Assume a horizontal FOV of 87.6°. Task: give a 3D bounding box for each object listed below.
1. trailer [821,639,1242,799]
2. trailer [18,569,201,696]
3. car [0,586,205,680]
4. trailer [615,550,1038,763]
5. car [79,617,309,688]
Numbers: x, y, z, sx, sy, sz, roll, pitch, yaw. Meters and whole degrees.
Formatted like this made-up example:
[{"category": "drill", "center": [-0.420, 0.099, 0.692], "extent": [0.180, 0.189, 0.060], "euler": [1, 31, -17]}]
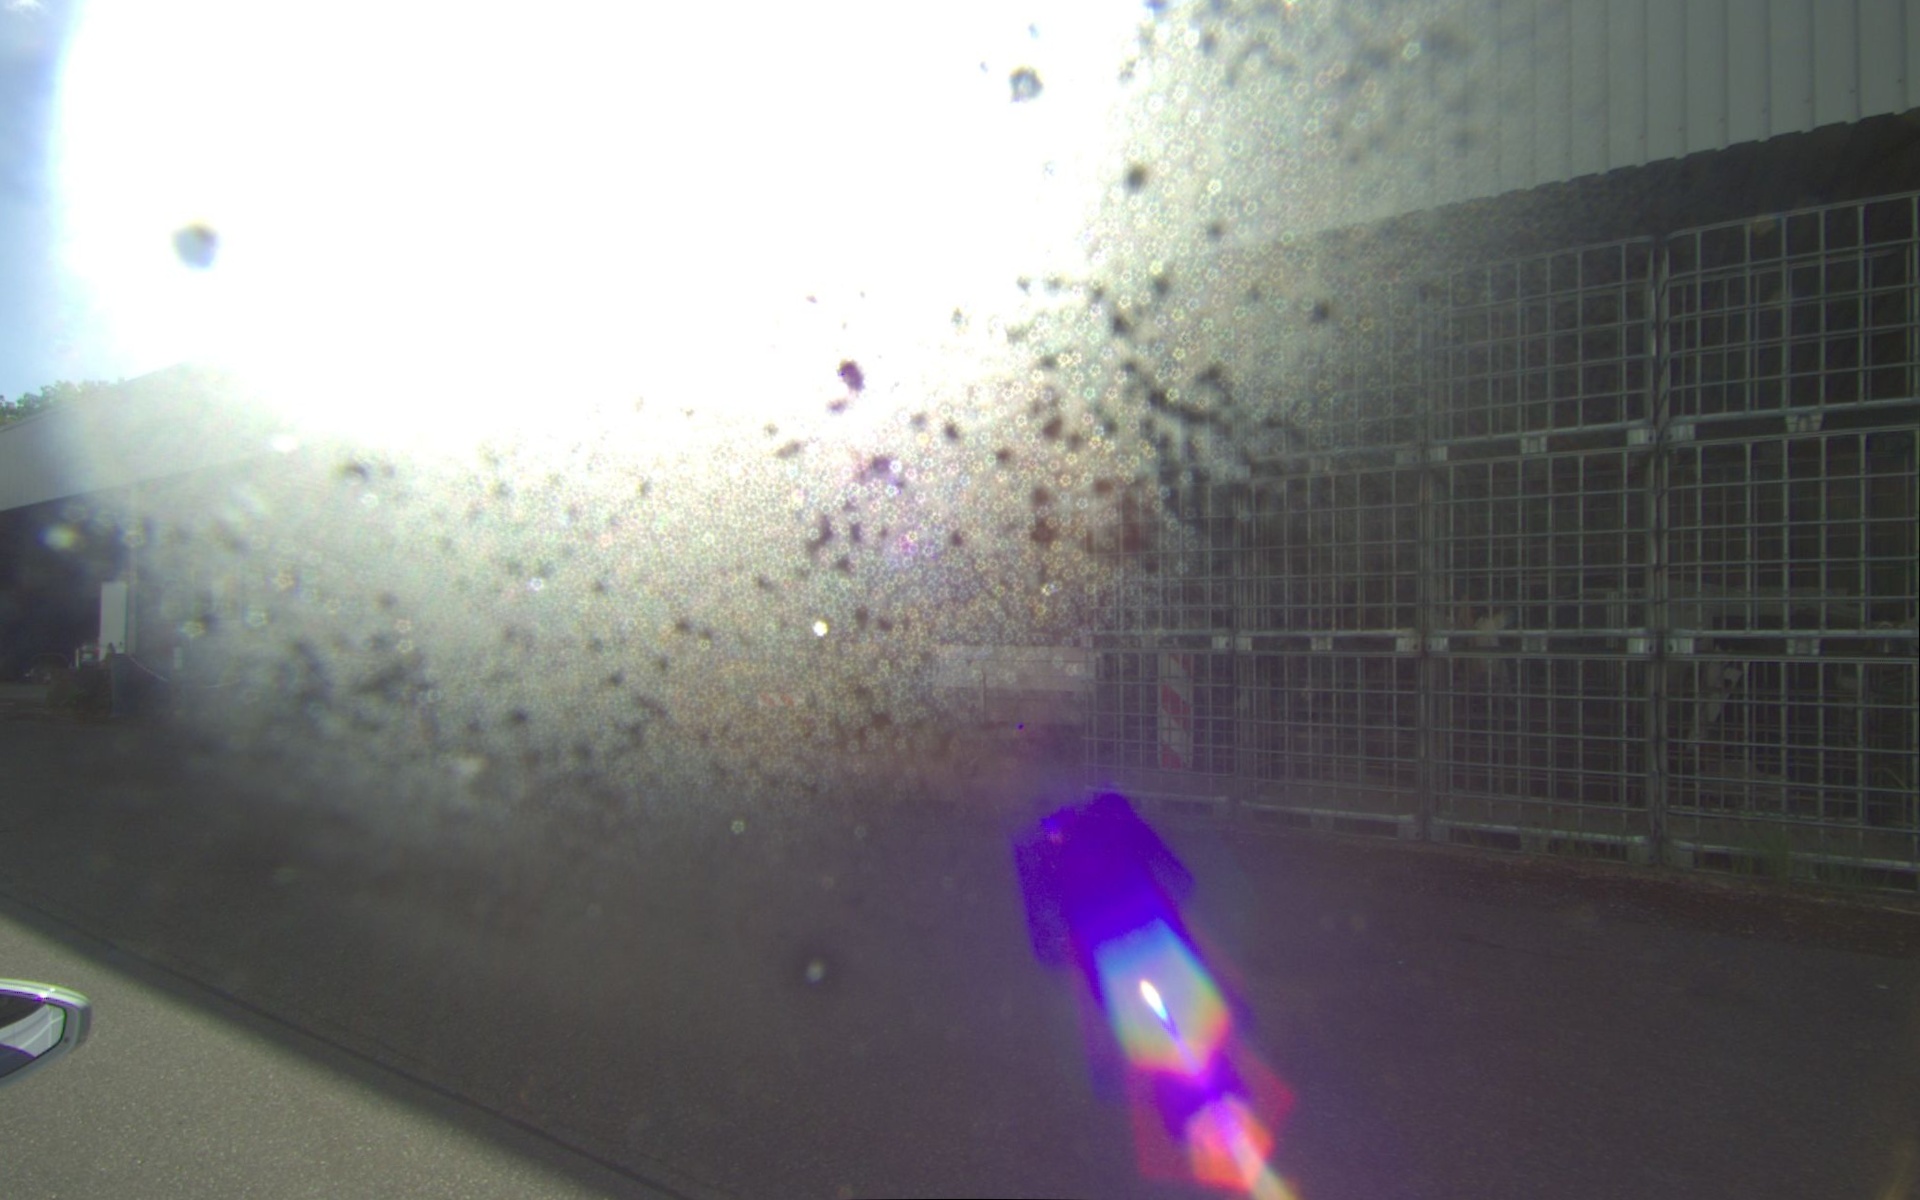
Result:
[{"category": "trailer", "center": [1.174, 1.024, 10.688], "extent": [2.110, 1.147, 5.840], "euler": [-1, -2, 31]}, {"category": "trailer", "center": [-17.538, 0.692, 20.713], "extent": [1.703, 2.429, 2.518], "euler": [-2, -2, 34]}, {"category": "car", "center": [-23.612, 1.000, 27.291], "extent": [1.890, 2.337, 4.425], "euler": [-3, -5, 33]}, {"category": "trailer", "center": [-1.305, 0.628, 12.685], "extent": [2.049, 2.058, 5.753], "euler": [0, -1, 34]}, {"category": "car", "center": [-18.139, 1.300, 23.914], "extent": [1.662, 1.542, 4.031], "euler": [-3, -5, 33]}]
